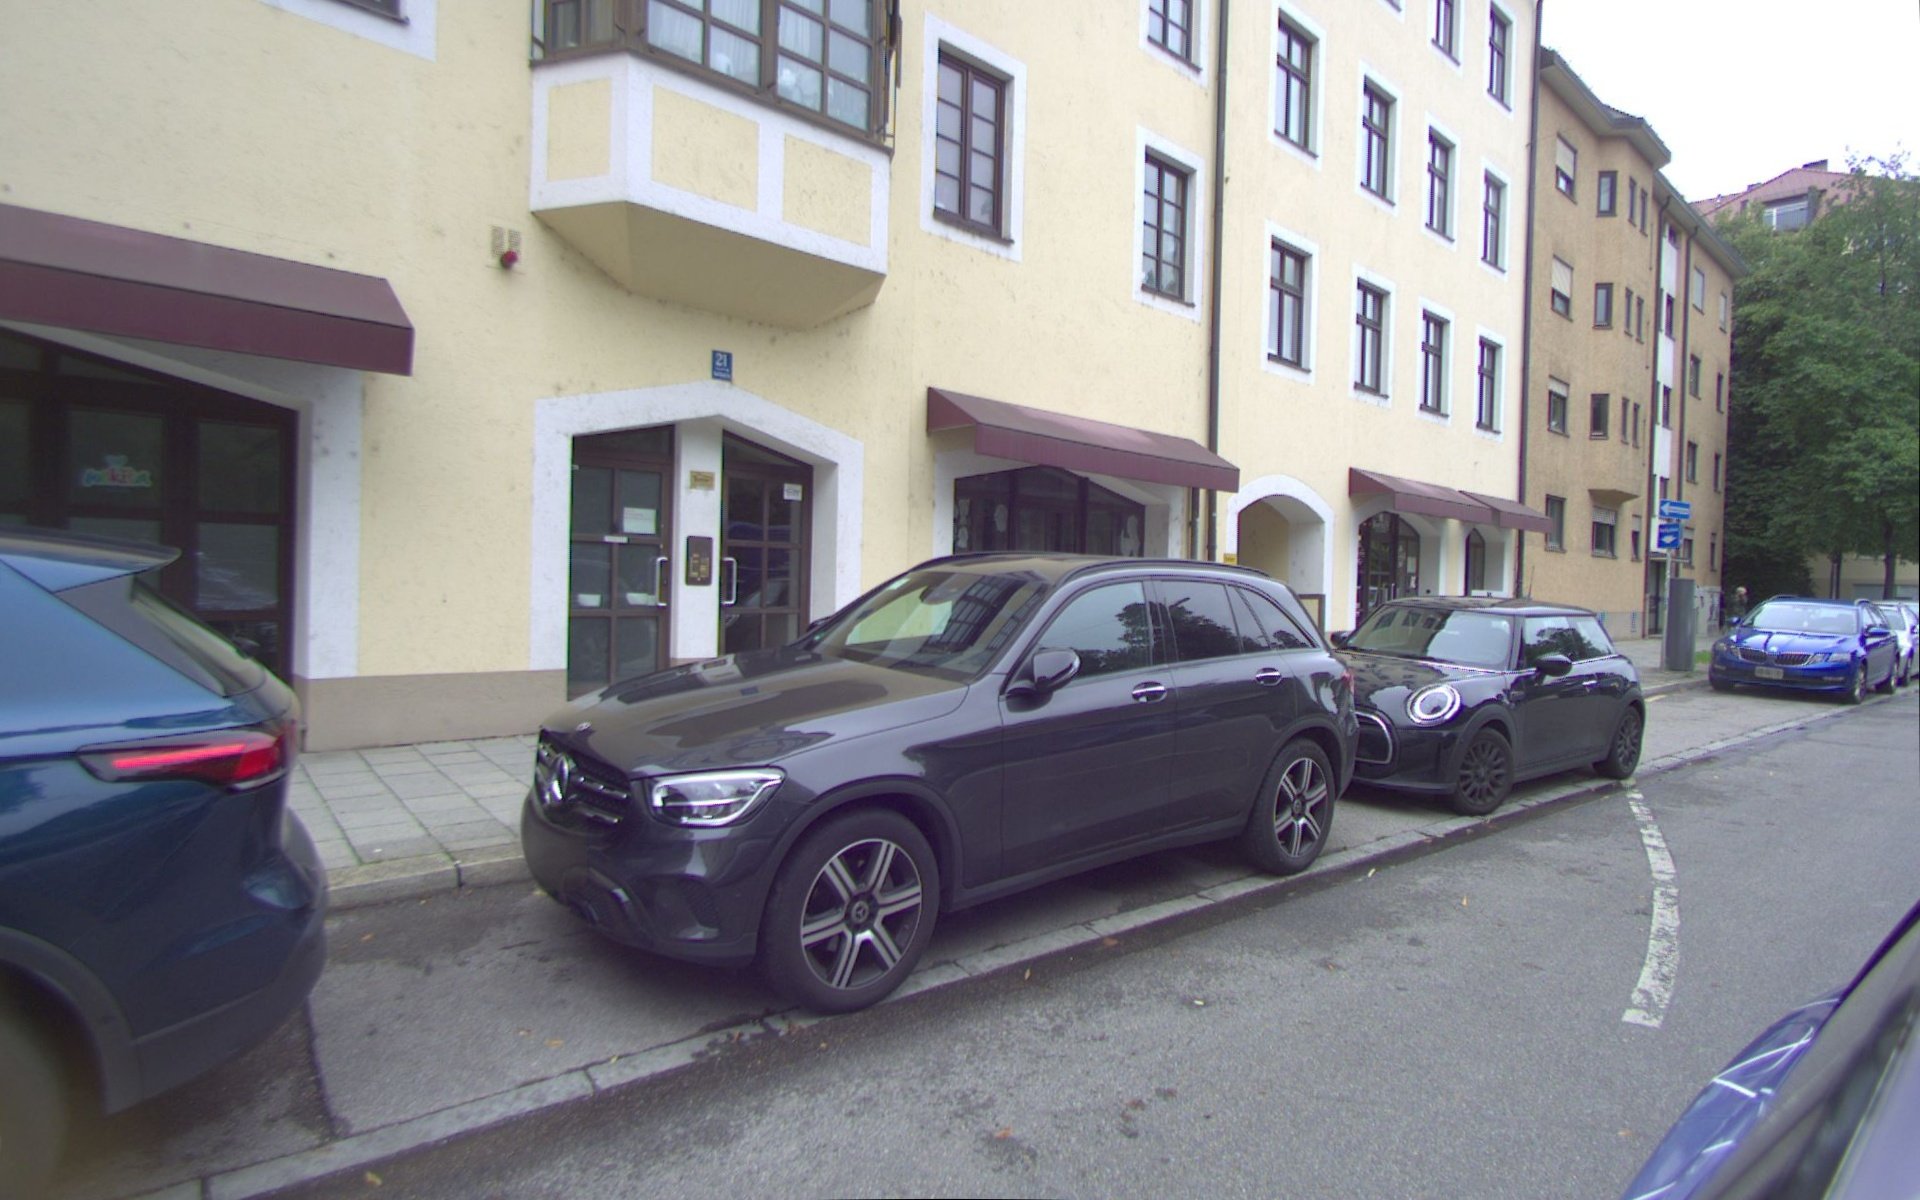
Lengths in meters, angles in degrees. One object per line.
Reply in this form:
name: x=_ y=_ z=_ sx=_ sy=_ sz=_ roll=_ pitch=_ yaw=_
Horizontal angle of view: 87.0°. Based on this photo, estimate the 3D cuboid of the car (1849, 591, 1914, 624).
car: x=45.216 y=0.333 z=49.629 sx=4.174 sy=1.485 sz=2.050 roll=0 pitch=2 yaw=-44

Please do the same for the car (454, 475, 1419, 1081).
car: x=0.247 y=0.457 z=4.983 sx=4.622 sy=1.700 sz=1.761 roll=0 pitch=3 yaw=-39

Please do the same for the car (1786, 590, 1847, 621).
car: x=43.313 y=0.258 z=51.137 sx=4.174 sy=1.485 sz=1.914 roll=0 pitch=2 yaw=-44

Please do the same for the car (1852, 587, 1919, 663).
car: x=21.109 y=0.536 z=22.242 sx=3.718 sy=1.514 sz=1.632 roll=0 pitch=3 yaw=-39

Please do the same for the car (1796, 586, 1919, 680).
car: x=17.350 y=0.547 z=19.024 sx=4.355 sy=1.514 sz=1.695 roll=0 pitch=3 yaw=-40

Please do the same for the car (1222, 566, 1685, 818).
car: x=4.048 y=0.560 z=8.119 sx=3.751 sy=1.514 sz=1.762 roll=0 pitch=3 yaw=-37

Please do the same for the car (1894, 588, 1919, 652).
car: x=24.737 y=0.520 z=25.188 sx=3.752 sy=1.514 sz=1.632 roll=0 pitch=3 yaw=-39

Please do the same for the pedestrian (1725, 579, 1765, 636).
pedestrian: x=22.901 y=0.202 z=29.521 sx=0.962 sy=1.644 sz=0.672 roll=-1 pitch=2 yaw=-38

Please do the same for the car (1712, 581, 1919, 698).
car: x=13.490 y=0.529 z=15.782 sx=4.406 sy=1.514 sz=1.761 roll=0 pitch=3 yaw=-39

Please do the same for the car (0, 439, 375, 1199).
car: x=-3.625 y=0.494 z=1.568 sx=4.433 sy=1.700 sz=1.822 roll=0 pitch=3 yaw=-42
